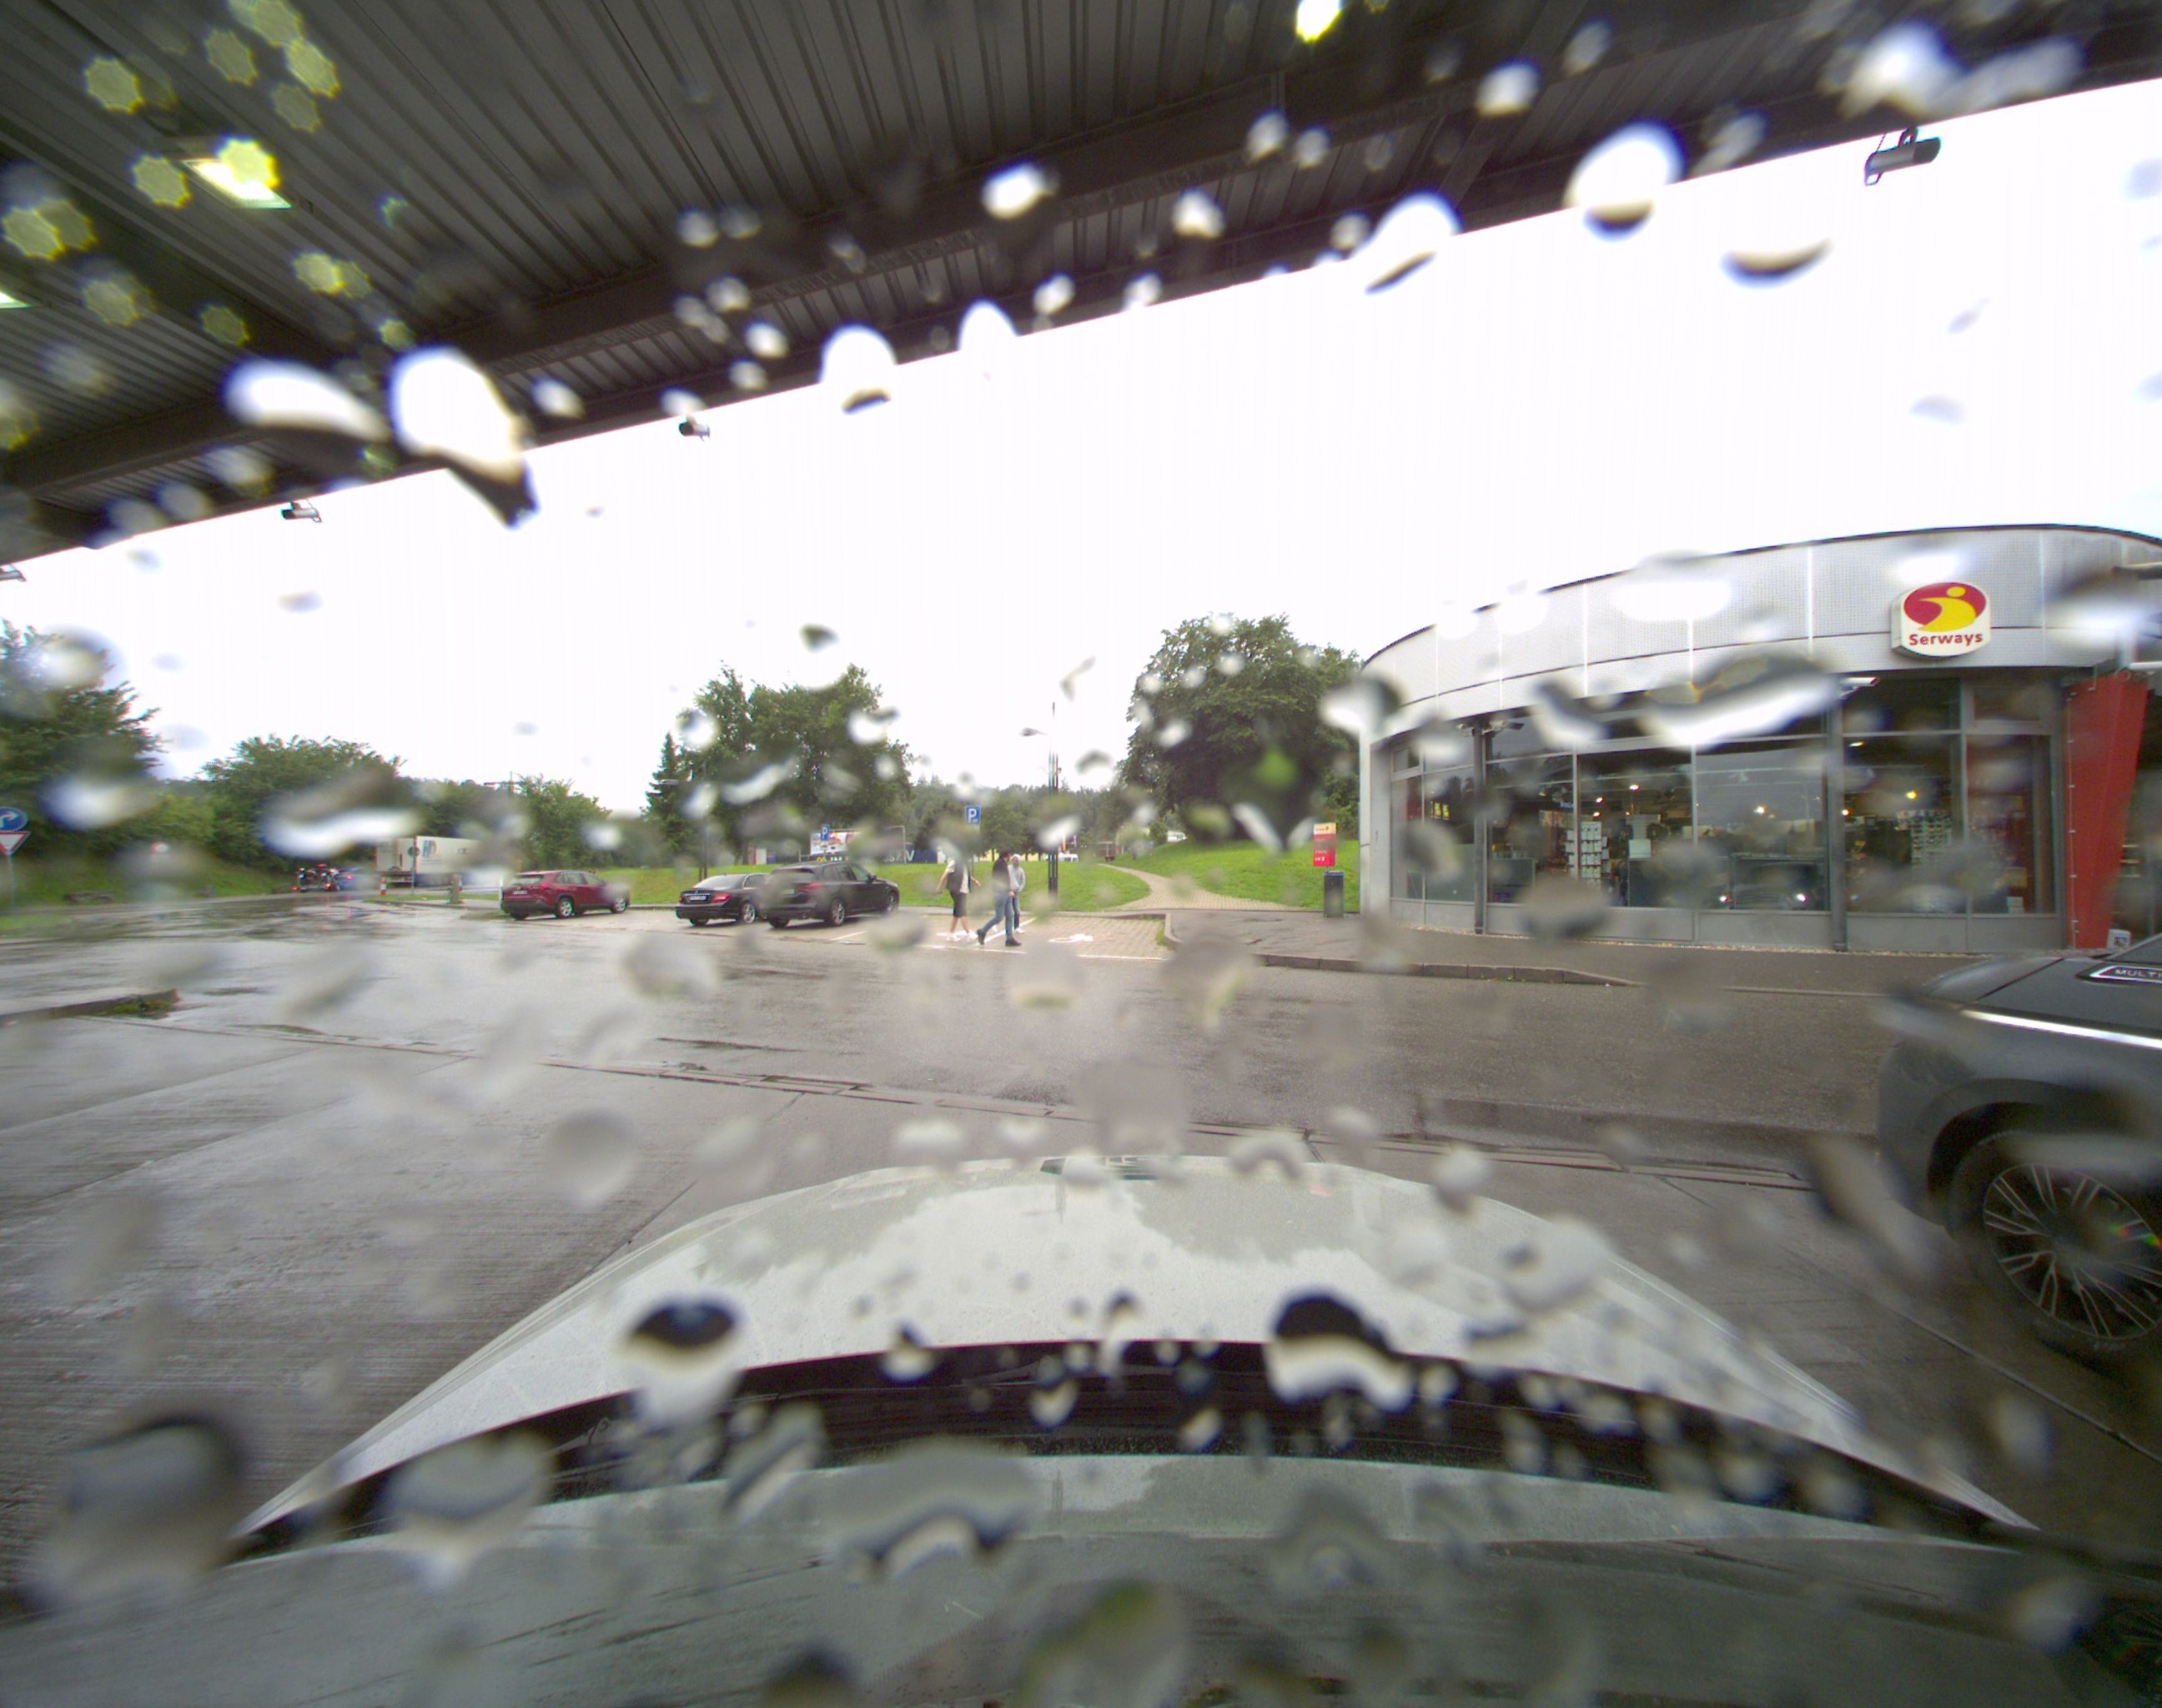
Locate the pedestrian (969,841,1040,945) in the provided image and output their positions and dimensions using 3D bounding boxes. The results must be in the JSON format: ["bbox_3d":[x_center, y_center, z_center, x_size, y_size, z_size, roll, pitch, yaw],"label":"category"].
[{"bbox_3d":[-1.416,0.706,15.146,0.989,1.864,0.804,-2,0,30],"label":"pedestrian"}]

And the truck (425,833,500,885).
[{"bbox_3d":[-57.110,0.499,75.418,3.467,4.557,6.694,0,-1,-18],"label":"truck"}]

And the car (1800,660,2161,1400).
[{"bbox_3d":[3.717,0.457,1.228,1.809,1.948,4.002,-1,0,2],"label":"car"}]

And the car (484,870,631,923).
[{"bbox_3d":[-18.158,1.416,28.520,1.873,1.596,4.364,-2,0,8],"label":"car"}]

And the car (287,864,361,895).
[{"bbox_3d":[-49.211,1.621,53.052,1.934,1.838,4.361,-1,0,-20],"label":"car"}]

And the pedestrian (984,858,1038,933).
[{"bbox_3d":[-1.489,0.871,17.319,0.880,1.550,0.665,-2,0,31],"label":"pedestrian"}]

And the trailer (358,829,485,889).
[{"bbox_3d":[-54.887,0.426,68.477,3.466,4.557,13.827,0,-1,-18],"label":"trailer"}]

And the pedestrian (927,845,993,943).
[{"bbox_3d":[-2.374,0.766,16.007,0.963,1.848,0.778,-2,0,30],"label":"pedestrian"}]

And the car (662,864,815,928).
[{"bbox_3d":[-9.617,1.137,23.296,1.871,1.565,4.200,-2,0,13],"label":"car"}]

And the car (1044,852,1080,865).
[{"bbox_3d":[-3.183,0.799,134.076,5.376,2.013,2.468,-1,0,21],"label":"car"}]

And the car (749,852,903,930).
[{"bbox_3d":[-6.616,0.888,21.739,1.871,1.828,4.429,-2,0,13],"label":"car"}]
